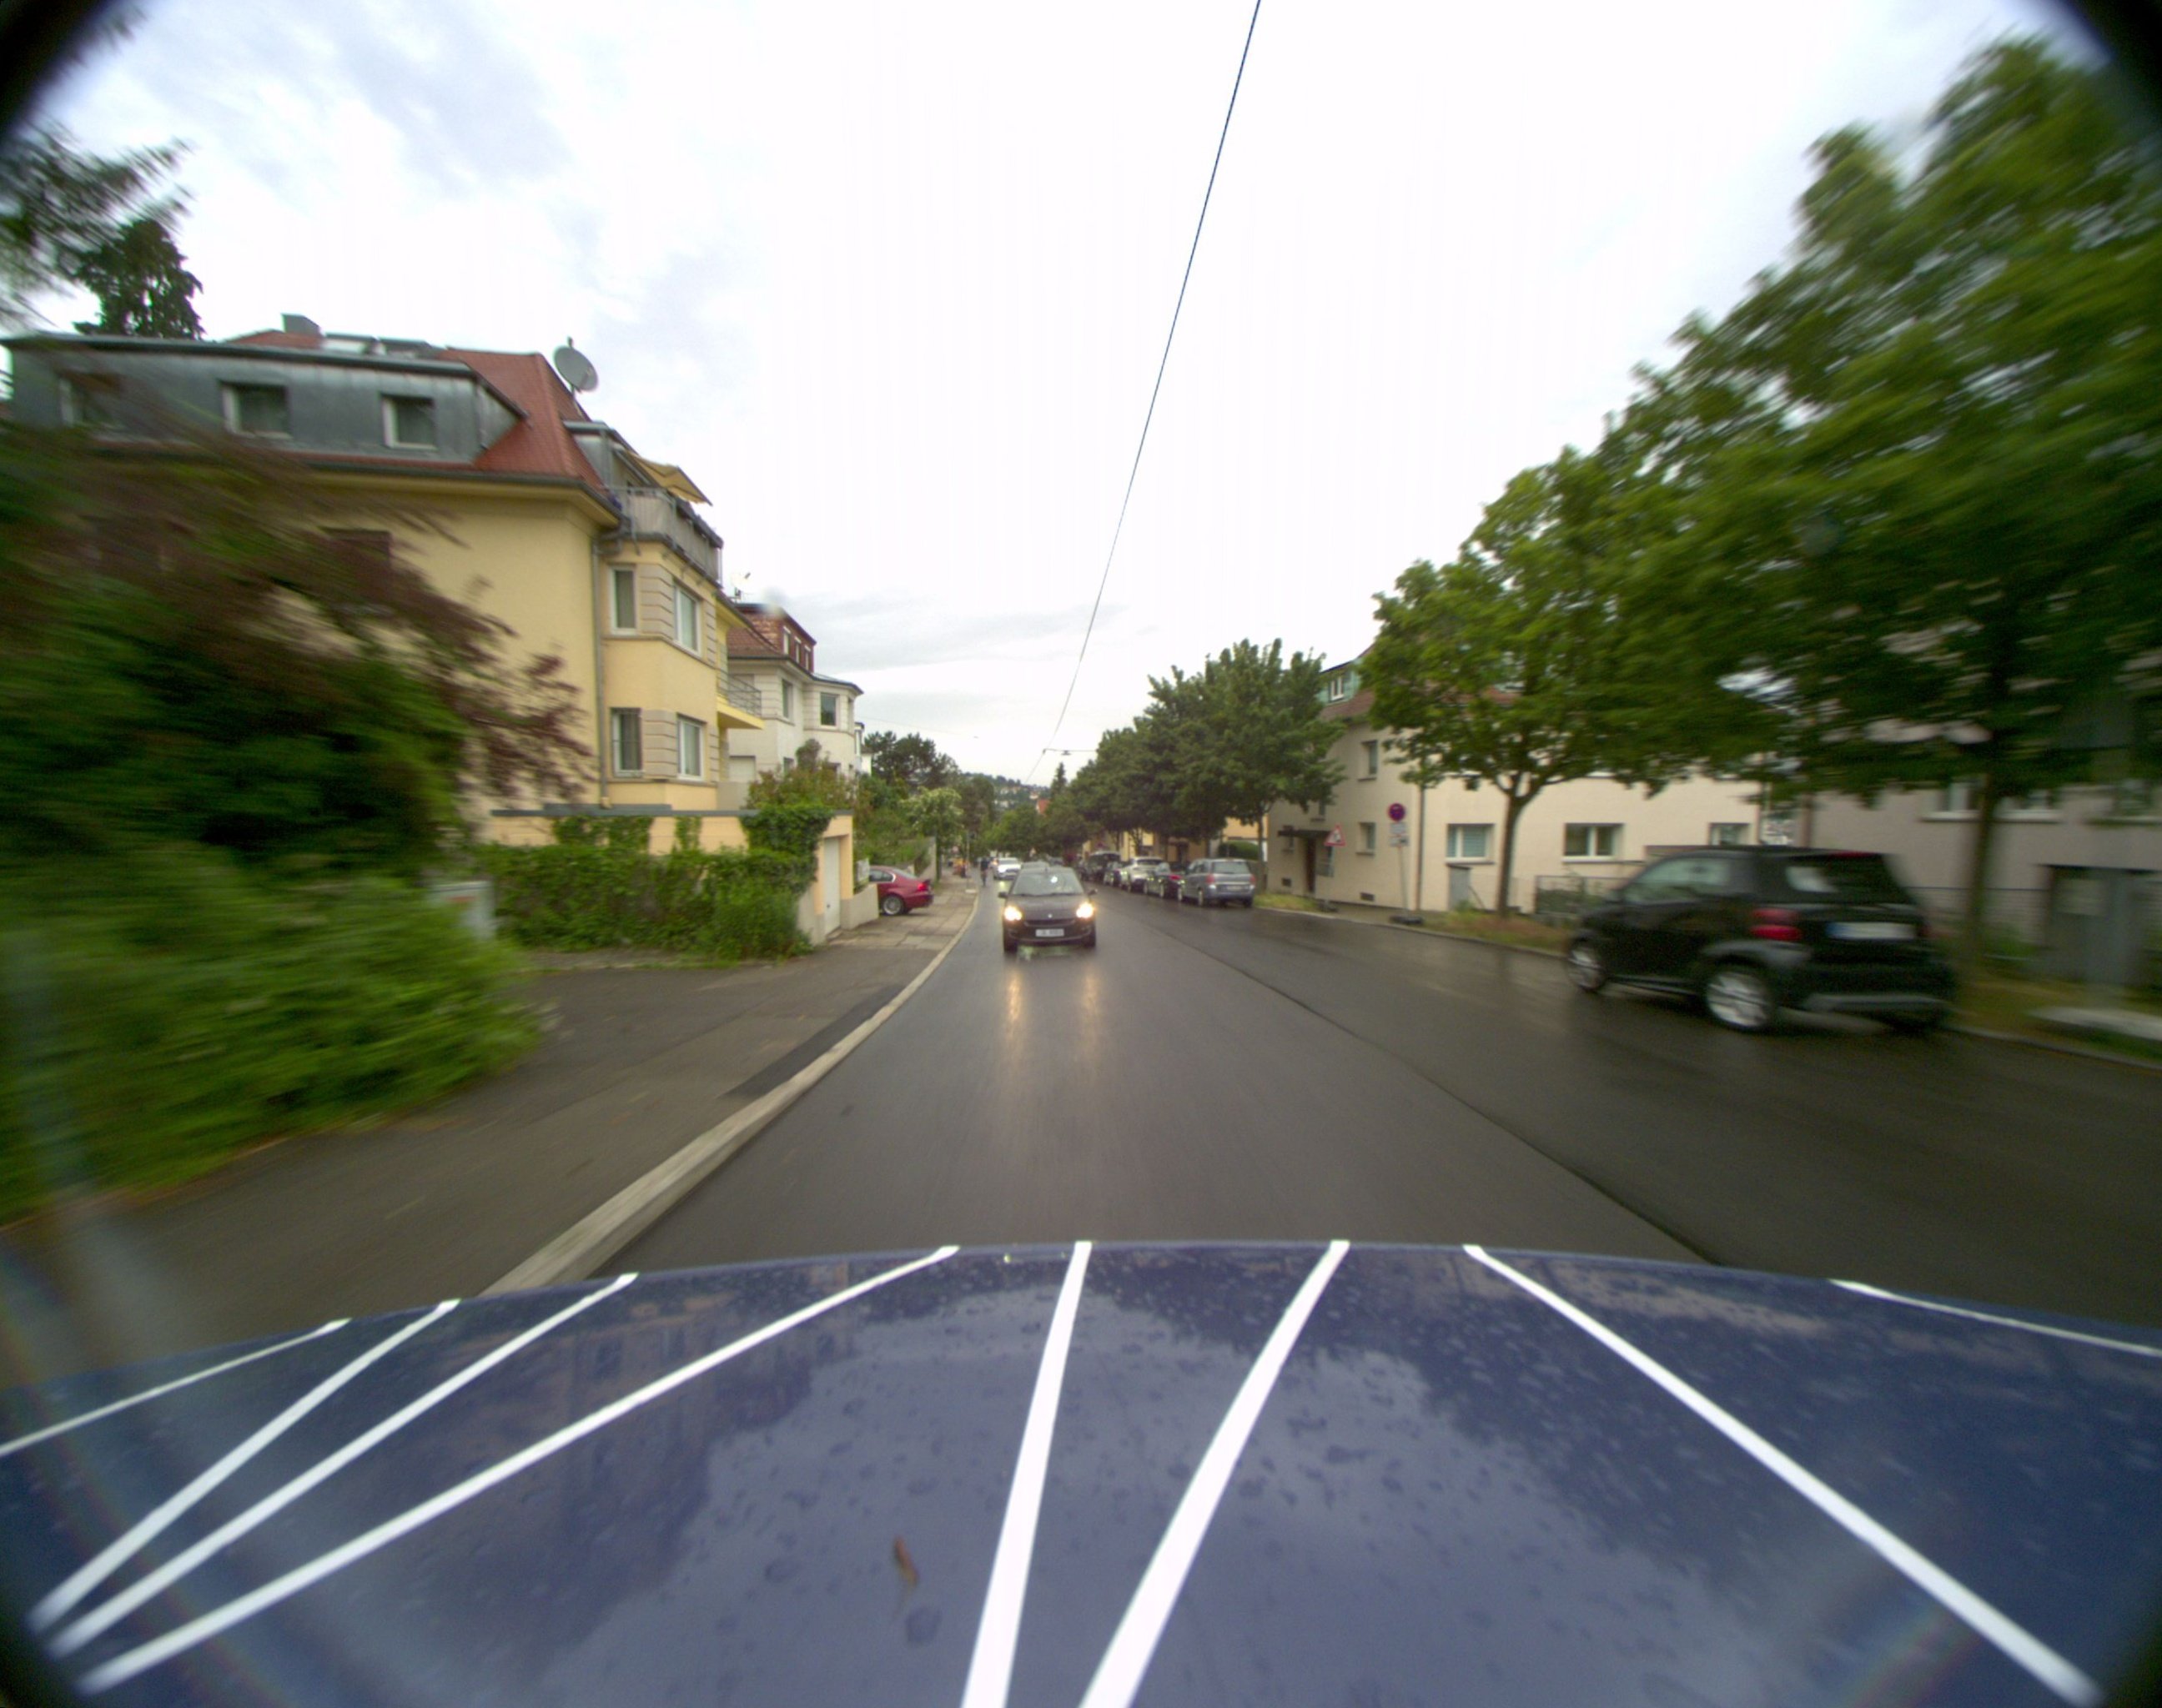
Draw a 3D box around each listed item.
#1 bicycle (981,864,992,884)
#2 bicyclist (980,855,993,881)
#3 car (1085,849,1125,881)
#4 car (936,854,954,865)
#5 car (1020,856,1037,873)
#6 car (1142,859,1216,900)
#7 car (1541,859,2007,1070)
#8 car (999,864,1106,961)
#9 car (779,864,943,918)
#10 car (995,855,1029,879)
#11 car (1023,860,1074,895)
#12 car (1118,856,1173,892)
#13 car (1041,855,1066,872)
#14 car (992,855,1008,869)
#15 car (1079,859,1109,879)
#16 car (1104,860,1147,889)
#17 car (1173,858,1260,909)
[{"bbox_3d":[-5.737,1.211,46.124,0.590,1.093,1.527,-2,1,-9],"label":"bicycle"},{"bbox_3d":[-5.750,0.833,46.173,0.685,1.528,0.784,-3,1,-10],"label":"bicyclist"},{"bbox_3d":[1.524,0.688,50.003,1.824,2.000,4.558,2,0,-9],"label":"car"},{"bbox_3d":[-24.496,1.056,136.433,2.003,1.705,3.993,-1,-3,-28],"label":"car"},{"bbox_3d":[-6.566,1.297,95.121,2.000,2.002,3.998,0,0,-6],"label":"car"},{"bbox_3d":[3.935,0.996,31.390,1.827,1.500,4.735,0,1,-8],"label":"car"},{"bbox_3d":[6.072,0.832,7.156,1.522,1.526,3.035,1,0,-3],"label":"car"},{"bbox_3d":[-0.645,1.018,15.030,1.747,1.434,4.357,-3,1,-4],"label":"car"},{"bbox_3d":[-6.220,1.033,21.879,4.182,1.398,1.833,1,0,-3],"label":"car"},{"bbox_3d":[-5.293,0.944,57.766,2.020,1.728,4.594,-2,0,-11],"label":"car"},{"bbox_3d":[-1.447,1.055,35.761,1.745,1.434,4.239,-2,0,6],"label":"car"},{"bbox_3d":[3.037,0.906,36.696,1.813,1.604,4.506,1,0,-6],"label":"car"},{"bbox_3d":[-2.617,0.877,71.604,1.911,1.591,4.085,0,0,-9],"label":"car"},{"bbox_3d":[-11.588,1.100,108.941,2.000,2.002,3.996,0,0,-11],"label":"car"},{"bbox_3d":[0.906,1.053,54.723,1.544,1.365,3.536,2,0,-9],"label":"car"},{"bbox_3d":[2.443,1.121,42.814,1.623,1.433,4.265,2,0,-7],"label":"car"},{"bbox_3d":[4.573,0.954,26.268,1.722,1.537,4.291,2,0,-7],"label":"car"}]
